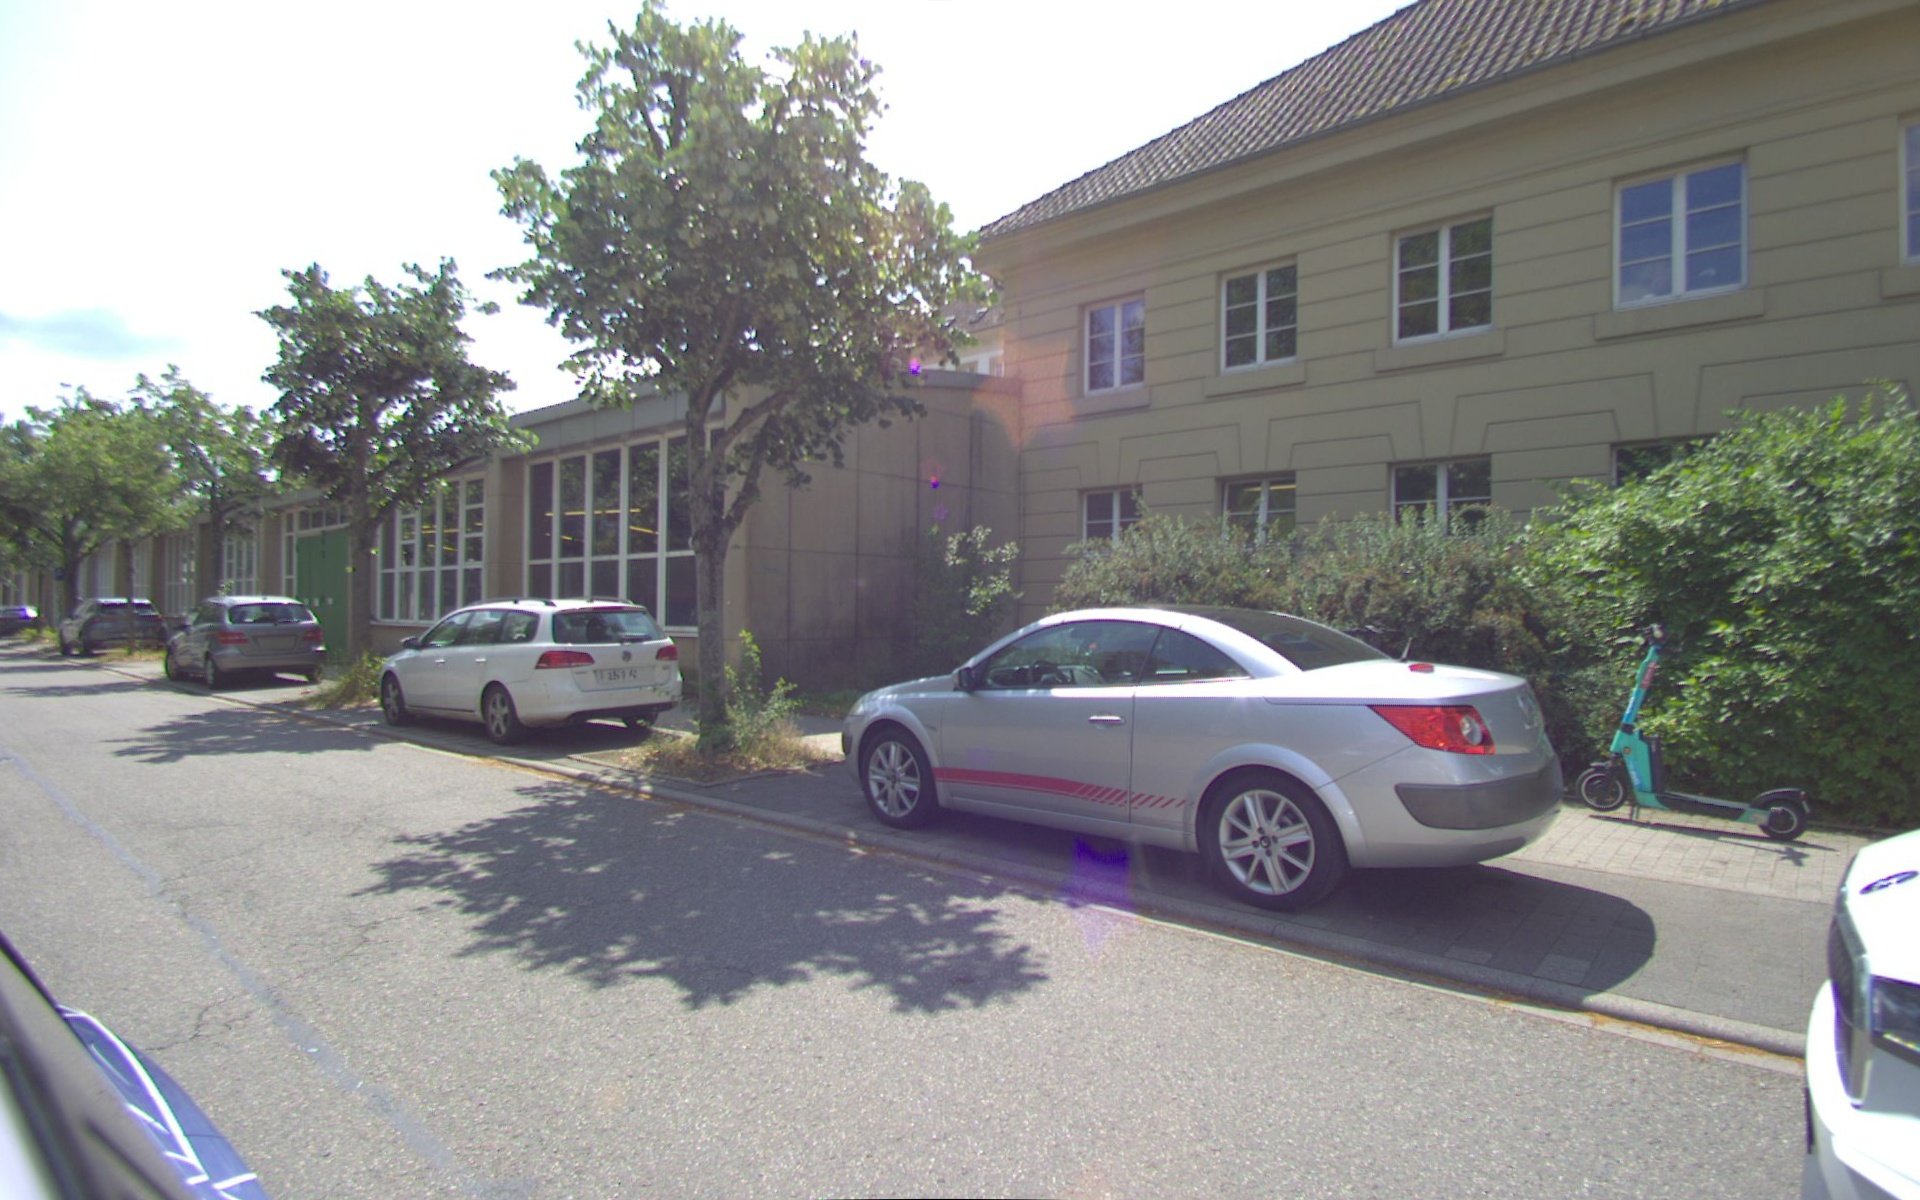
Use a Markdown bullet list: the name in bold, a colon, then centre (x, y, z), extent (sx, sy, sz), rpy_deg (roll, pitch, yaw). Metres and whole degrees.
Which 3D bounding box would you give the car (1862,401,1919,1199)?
- **car**: centre (3.481, 0.546, 0.468), extent (4.518, 1.631, 1.898), rpy_deg (1, 3, 41)

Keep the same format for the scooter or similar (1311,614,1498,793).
- **scooter or similar**: centre (3.227, 0.701, 7.432), extent (0.463, 1.180, 1.231), rpy_deg (0, 0, -28)

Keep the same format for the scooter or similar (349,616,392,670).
- **scooter or similar**: centre (-13.338, 0.959, 22.887), extent (1.215, 1.178, 0.500), rpy_deg (-1, 0, 42)

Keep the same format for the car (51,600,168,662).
- **car**: centre (-24.910, 0.856, 29.579), extent (4.513, 1.644, 1.804), rpy_deg (0, 1, 39)

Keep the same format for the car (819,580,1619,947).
- **car**: centre (1.178, 0.620, 5.841), extent (4.166, 1.354, 1.706), rpy_deg (-1, 1, 43)

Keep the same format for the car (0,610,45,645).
- **car**: centre (-42.572, 1.243, 45.428), extent (4.287, 1.446, 1.707), rpy_deg (-2, 0, 41)

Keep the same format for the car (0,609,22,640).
- **car**: centre (-46.887, 1.201, 49.103), extent (3.751, 1.460, 1.613), rpy_deg (-1, 2, 41)

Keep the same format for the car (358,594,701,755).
- **car**: centre (-5.051, 0.697, 11.551), extent (4.580, 1.467, 1.708), rpy_deg (0, 1, 40)

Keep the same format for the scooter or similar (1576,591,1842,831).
- **scooter or similar**: centre (4.488, 0.630, 6.114), extent (1.229, 1.298, 0.518), rpy_deg (-2, -5, 42)

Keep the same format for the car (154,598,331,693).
- **car**: centre (-13.620, 0.782, 19.131), extent (4.110, 1.568, 1.740), rpy_deg (0, 1, 40)
